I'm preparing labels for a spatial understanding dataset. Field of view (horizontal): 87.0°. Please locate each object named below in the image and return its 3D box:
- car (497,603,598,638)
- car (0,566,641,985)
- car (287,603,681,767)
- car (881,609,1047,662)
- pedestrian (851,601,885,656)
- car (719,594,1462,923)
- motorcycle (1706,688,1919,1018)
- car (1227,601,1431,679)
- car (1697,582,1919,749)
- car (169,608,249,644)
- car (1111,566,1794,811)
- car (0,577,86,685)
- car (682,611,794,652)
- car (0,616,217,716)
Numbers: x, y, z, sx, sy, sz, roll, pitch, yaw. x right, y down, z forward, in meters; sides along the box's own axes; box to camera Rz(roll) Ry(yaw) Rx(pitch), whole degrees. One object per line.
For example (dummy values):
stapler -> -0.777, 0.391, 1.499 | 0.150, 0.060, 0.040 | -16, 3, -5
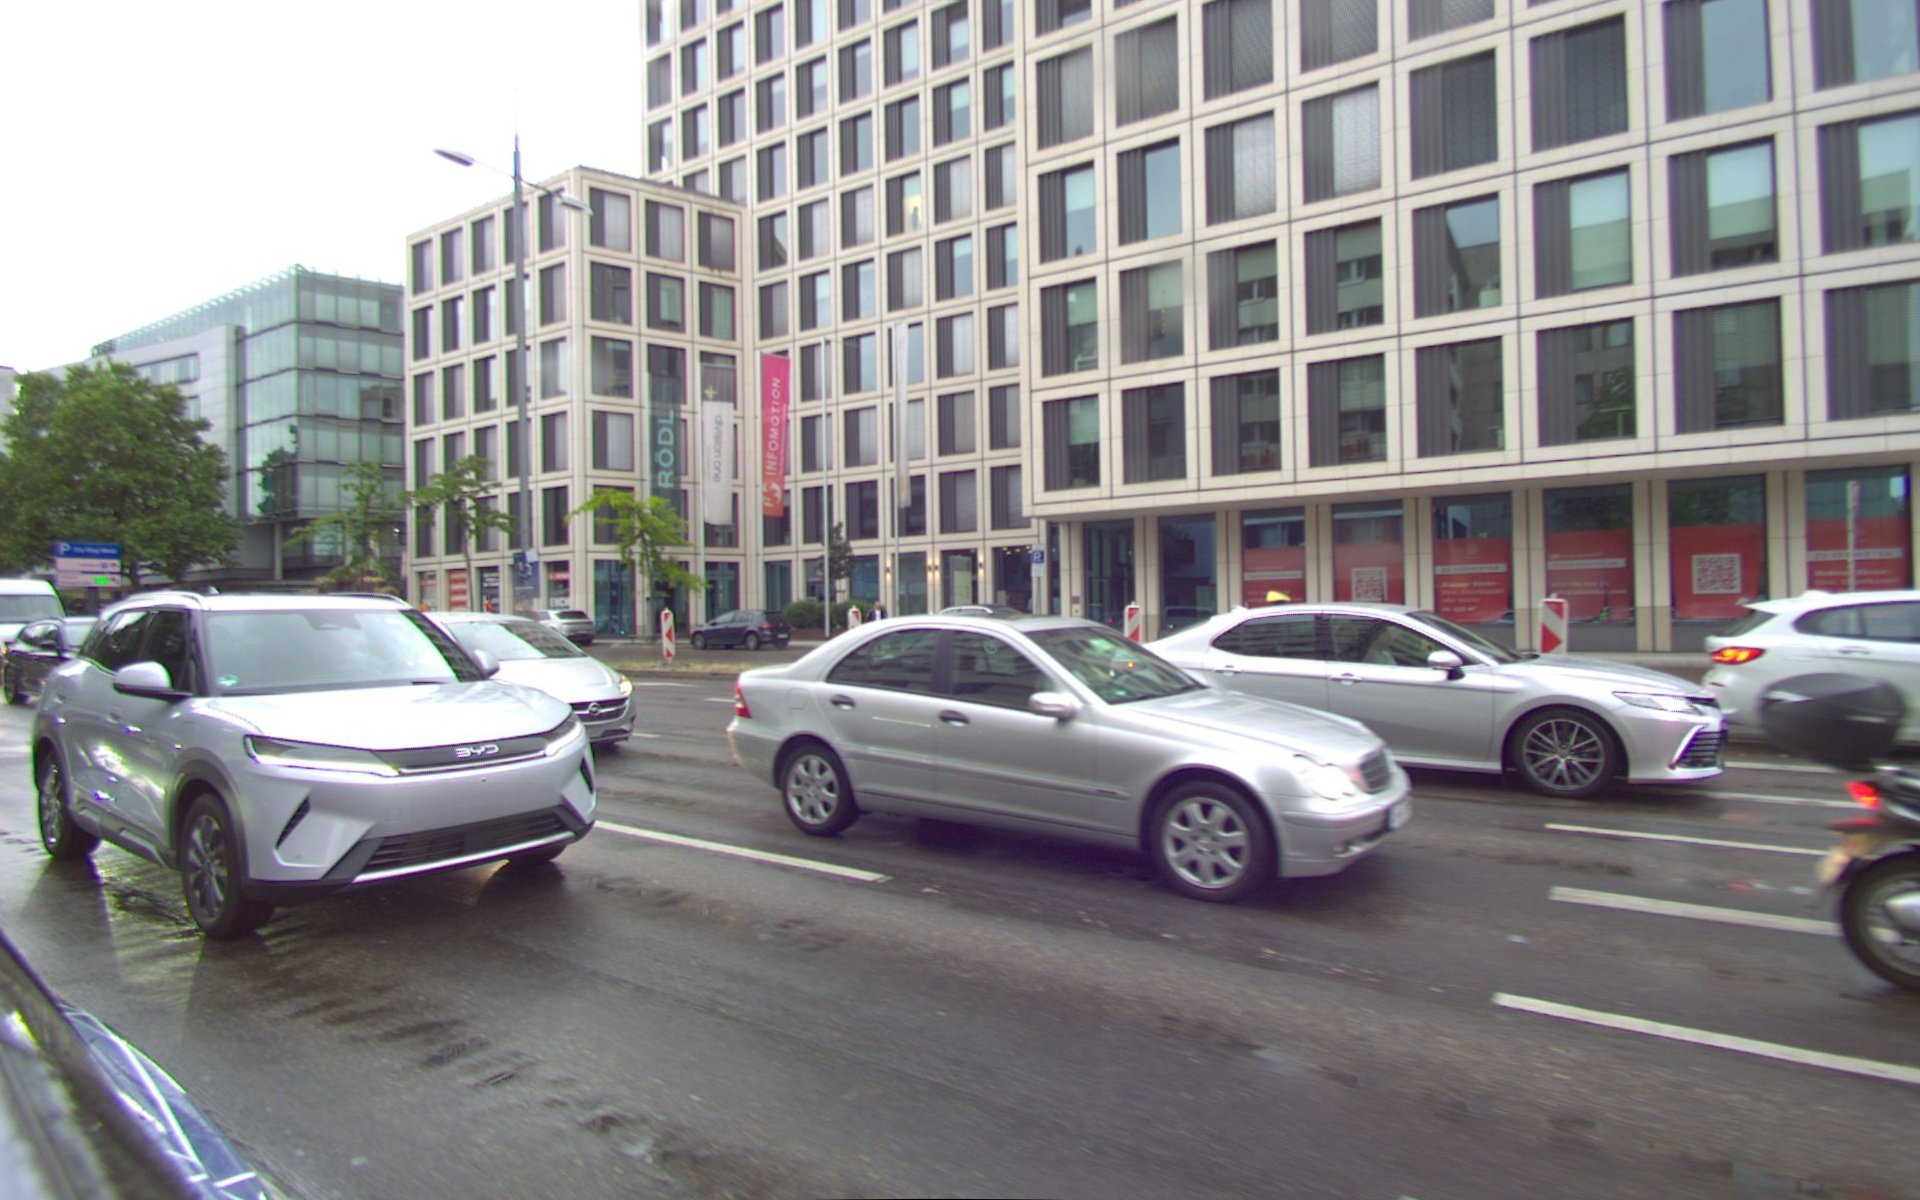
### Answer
car -> -17.672, 0.874, 43.295 | 4.356, 1.435, 1.686 | -1, -2, 30
car -> -3.956, 0.700, 5.981 | 4.161, 1.673, 1.793 | 0, 0, 35
car -> -5.233, 0.807, 11.069 | 4.106, 1.490, 1.760 | -1, 0, 27
car -> 0.082, 1.106, 32.223 | 5.163, 1.581, 1.686 | -1, -2, 30
pedestrian -> -2.993, 0.903, 32.867 | 0.605, 1.747, 0.968 | -1, 0, -44
car -> 0.607, 0.695, 6.386 | 4.374, 1.414, 1.717 | 0, 0, 36
motorcycle -> 3.983, 0.866, 3.392 | 2.286, 0.997, 0.935 | -1, 0, 32
car -> 7.824, 0.828, 21.533 | 3.859, 1.530, 1.686 | -1, -2, 30
car -> 8.896, 0.528, 8.785 | 3.984, 1.383, 1.768 | 0, 0, 35
car -> -44.406, 1.502, 59.826 | 4.895, 2.029, 1.980 | -1, 0, 30
car -> 3.826, 0.556, 8.506 | 4.792, 1.533, 1.814 | 0, 0, 37
car -> -23.405, 0.707, 24.562 | 5.711, 2.403, 2.232 | 0, 0, 38
car -> -8.151, 1.142, 37.140 | 3.940, 1.435, 1.686 | -1, -2, 30
car -> -14.285, 0.994, 16.815 | 4.231, 1.412, 1.883 | 0, 0, 35
